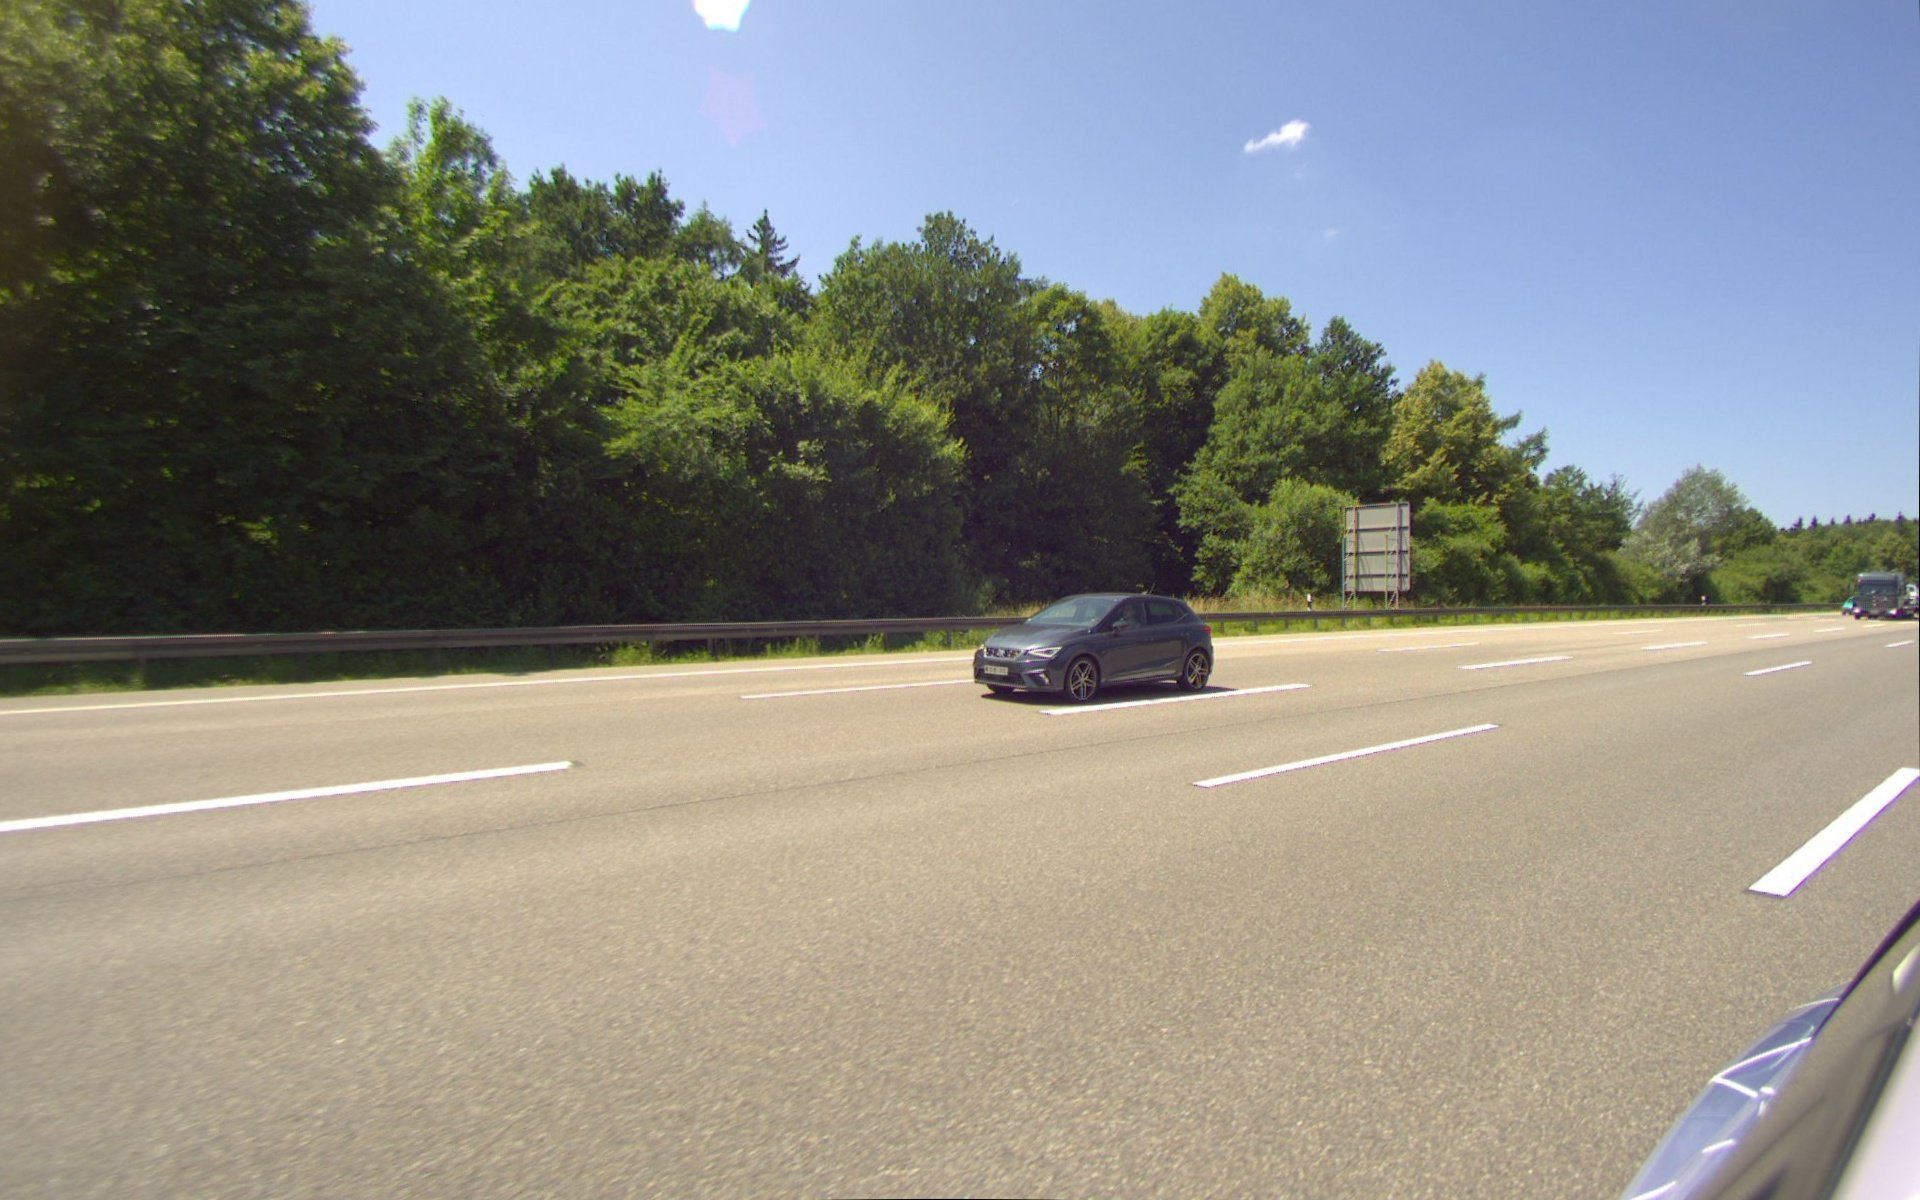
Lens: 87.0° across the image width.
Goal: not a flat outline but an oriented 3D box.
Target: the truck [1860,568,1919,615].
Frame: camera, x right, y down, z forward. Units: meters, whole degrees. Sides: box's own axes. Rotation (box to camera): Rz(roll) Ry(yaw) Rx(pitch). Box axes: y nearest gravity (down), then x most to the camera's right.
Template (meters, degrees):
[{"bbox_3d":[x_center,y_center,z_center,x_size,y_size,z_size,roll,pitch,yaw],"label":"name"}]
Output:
[{"bbox_3d":[62.059,-0.583,66.592,10.690,2.892,2.659,-1,1,-39],"label":"truck"}]

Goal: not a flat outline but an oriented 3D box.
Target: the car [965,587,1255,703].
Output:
[{"bbox_3d":[2.323,0.541,14.880,4.553,1.456,1.646,-1,1,-40],"label":"car"}]

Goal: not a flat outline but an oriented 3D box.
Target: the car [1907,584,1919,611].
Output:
[{"bbox_3d":[70.050,-0.218,72.883,4.782,1.919,1.998,-1,1,-39],"label":"car"}]

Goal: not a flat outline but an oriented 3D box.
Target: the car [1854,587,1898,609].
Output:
[{"bbox_3d":[71.498,-0.197,79.014,4.053,1.701,1.998,-1,1,-40],"label":"car"}]
